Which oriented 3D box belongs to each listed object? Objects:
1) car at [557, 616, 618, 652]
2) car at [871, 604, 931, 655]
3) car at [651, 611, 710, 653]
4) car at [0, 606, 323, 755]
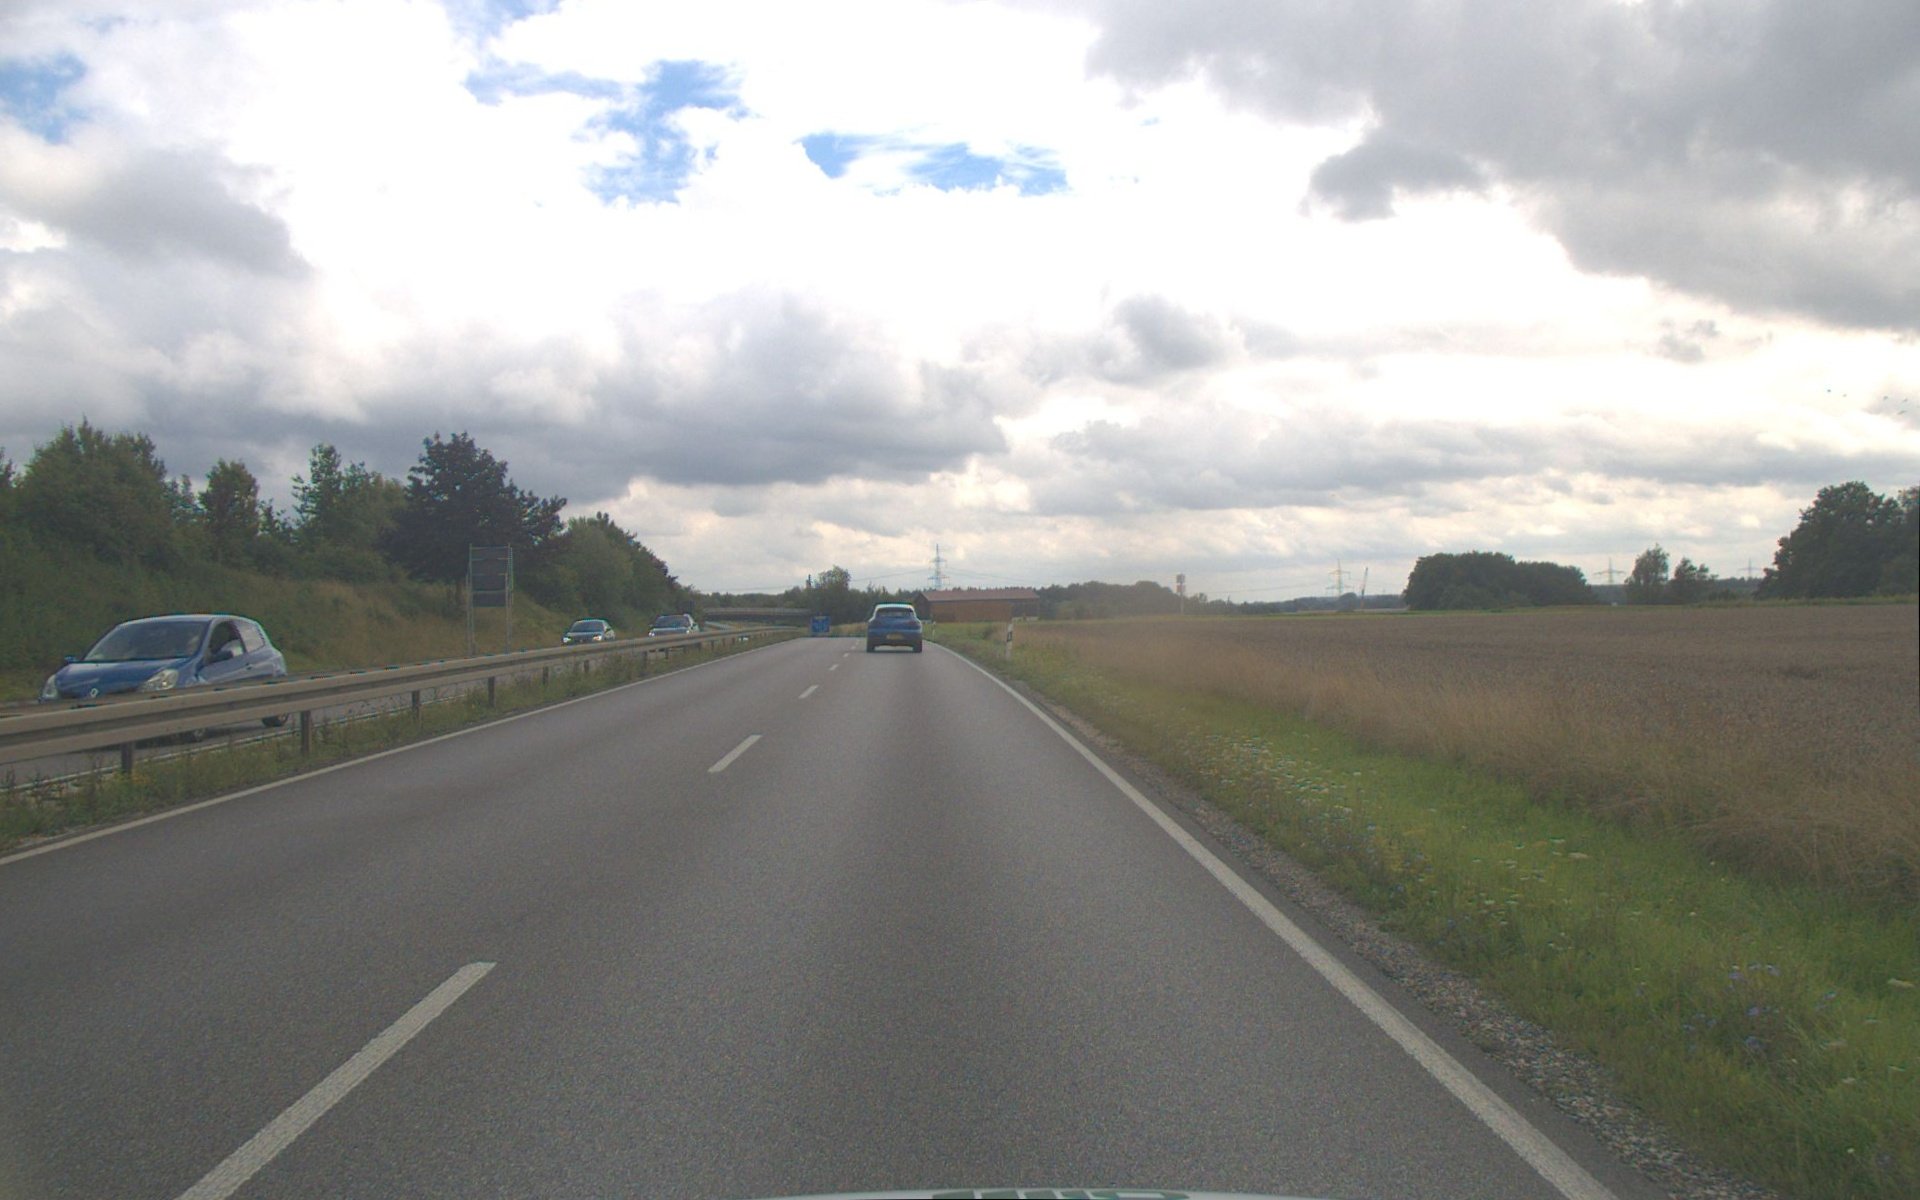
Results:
[{"bbox_3d":[-15.606,1.414,69.430,1.657,1.347,4.415,-1,1,-2],"label":"car"},{"bbox_3d":[-2.061,0.988,57.498,1.992,1.689,4.541,0,0,-2],"label":"car"},{"bbox_3d":[-11.312,1.257,67.145,1.719,1.512,4.575,-1,1,-2],"label":"car"},{"bbox_3d":[-9.724,0.908,20.512,2.043,1.545,4.192,-1,1,-1],"label":"car"}]
